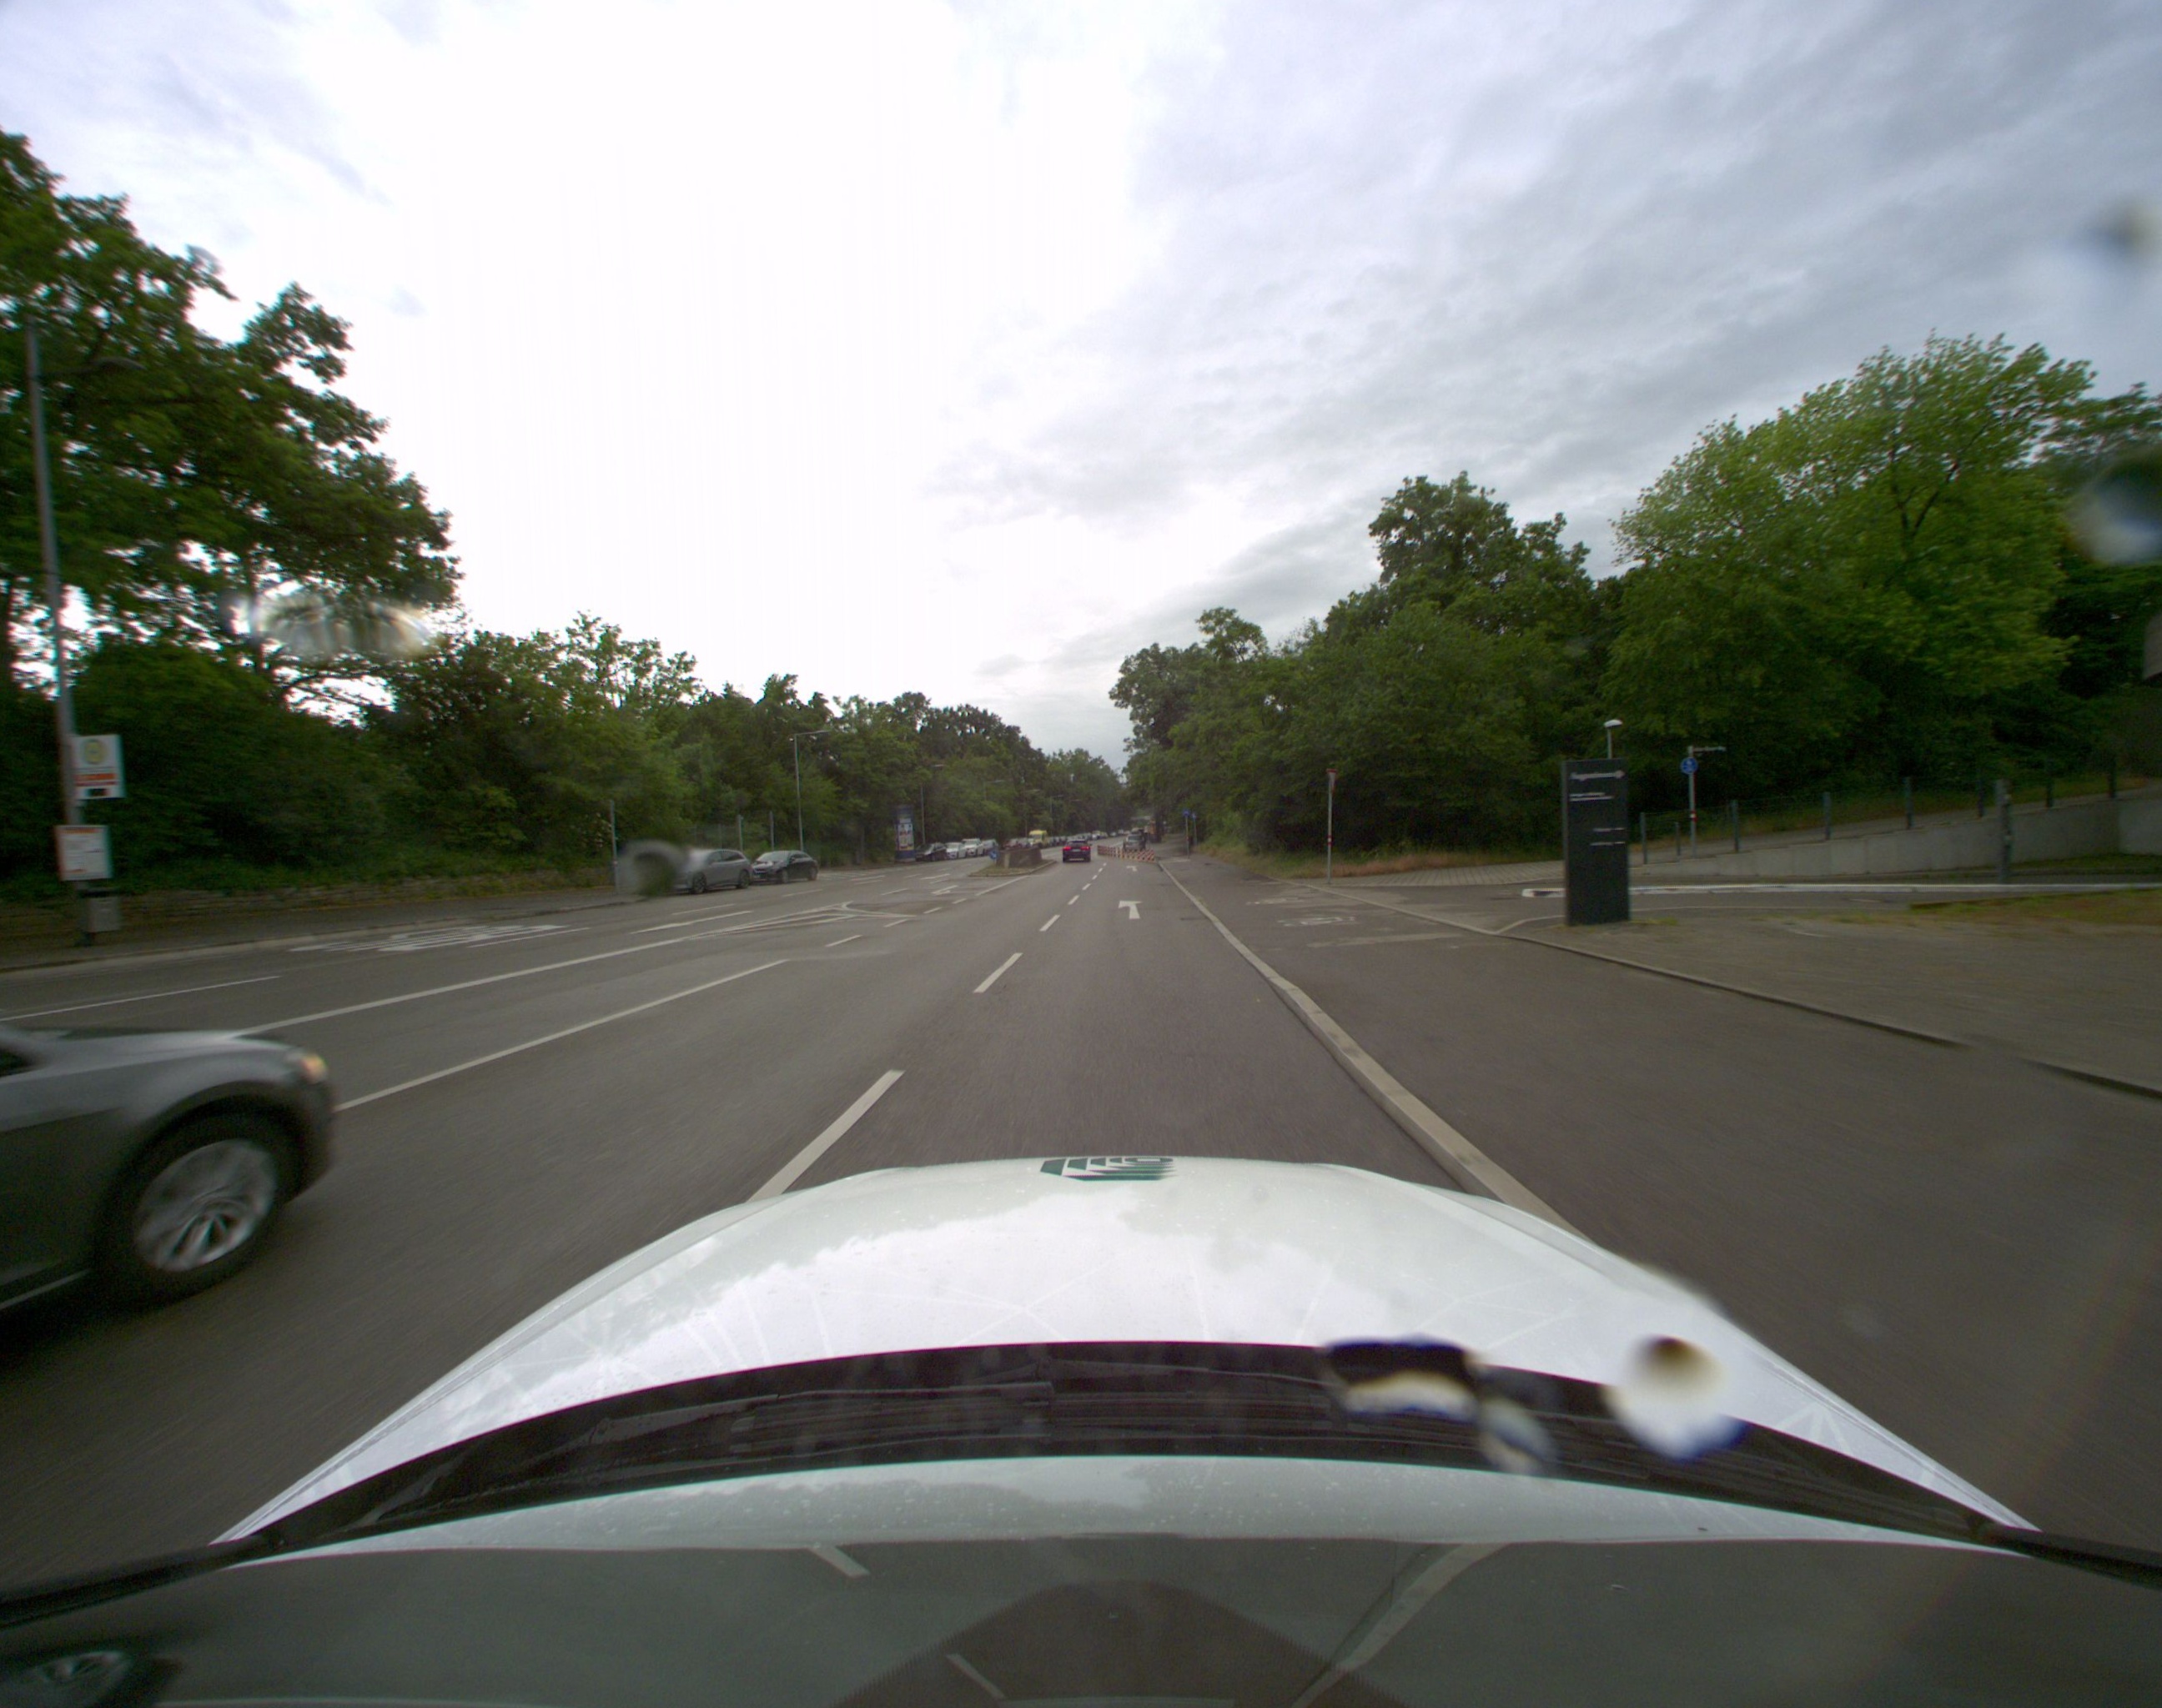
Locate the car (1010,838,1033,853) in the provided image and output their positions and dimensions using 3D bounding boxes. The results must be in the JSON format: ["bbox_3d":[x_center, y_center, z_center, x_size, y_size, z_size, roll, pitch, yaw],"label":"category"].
[{"bbox_3d":[-7.314,-1.054,100.569,1.984,1.700,4.623,-2,2,5],"label":"car"}]

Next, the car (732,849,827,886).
[{"bbox_3d":[-12.875,0.551,35.178,1.897,1.414,4.791,-1,1,6],"label":"car"}]

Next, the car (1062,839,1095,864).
[{"bbox_3d":[-0.202,-0.184,52.180,1.876,1.465,3.996,-1,2,-3],"label":"car"}]

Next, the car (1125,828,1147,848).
[{"bbox_3d":[4.821,-1.393,71.702,1.815,1.614,4.254,-2,1,2],"label":"car"}]

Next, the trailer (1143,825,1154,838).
[{"bbox_3d":[13.847,-4.709,166.741,2.122,2.559,4.303,-2,2,5],"label":"trailer"}]

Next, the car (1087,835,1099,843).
[{"bbox_3d":[2.587,-3.225,174.669,1.983,1.488,4.478,-2,2,7],"label":"car"}]

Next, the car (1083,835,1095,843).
[{"bbox_3d":[1.659,-3.053,167.259,1.869,1.561,4.478,-2,2,7],"label":"car"}]

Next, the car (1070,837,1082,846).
[{"bbox_3d":[-0.833,-2.233,144.754,1.688,1.583,4.146,-2,2,5],"label":"car"}]

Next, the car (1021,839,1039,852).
[{"bbox_3d":[-6.572,-1.104,105.903,1.609,1.448,3.665,-3,2,7],"label":"car"}]

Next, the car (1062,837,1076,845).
[{"bbox_3d":[-2.009,-2.191,137.677,1.860,1.303,4.479,-2,2,6],"label":"car"}]

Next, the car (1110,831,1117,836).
[{"bbox_3d":[9.122,-5.785,230.895,1.664,1.513,3.637,-2,2,6],"label":"car"}]

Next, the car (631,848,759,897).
[{"bbox_3d":[-13.721,0.593,29.379,1.832,1.589,4.937,-1,1,6],"label":"car"}]

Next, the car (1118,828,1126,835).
[{"bbox_3d":[12.878,-7.032,255.926,2.146,2.013,5.043,-2,2,8],"label":"car"}]

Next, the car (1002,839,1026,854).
[{"bbox_3d":[-7.798,-0.877,95.279,1.909,1.616,4.499,-3,1,7],"label":"car"}]

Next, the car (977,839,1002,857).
[{"bbox_3d":[-9.339,-0.615,83.378,1.724,1.648,4.576,-2,1,4],"label":"car"}]

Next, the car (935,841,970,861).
[{"bbox_3d":[-10.996,-0.271,70.111,1.709,1.460,4.718,-2,2,7],"label":"car"}]

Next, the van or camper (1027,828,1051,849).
[{"bbox_3d":[-5.743,-2.150,112.210,2.132,2.627,5.696,-2,2,8],"label":"van or camper"}]

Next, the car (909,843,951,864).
[{"bbox_3d":[-11.862,-0.064,64.371,1.739,1.445,4.599,-2,2,9],"label":"car"}]

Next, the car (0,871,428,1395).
[{"bbox_3d":[-4.008,0.829,1.637,1.865,1.441,4.297,-1,0,1],"label":"car"}]

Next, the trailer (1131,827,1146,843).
[{"bbox_3d":[8.502,-2.873,120.419,1.896,2.247,4.777,-2,2,6],"label":"trailer"}]

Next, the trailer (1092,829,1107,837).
[{"bbox_3d":[4.367,-4.976,190.861,1.609,1.628,3.697,-1,2,38],"label":"trailer"}]

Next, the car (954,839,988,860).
[{"bbox_3d":[-10.227,-0.478,76.008,1.983,1.765,4.969,-2,1,6],"label":"car"}]
